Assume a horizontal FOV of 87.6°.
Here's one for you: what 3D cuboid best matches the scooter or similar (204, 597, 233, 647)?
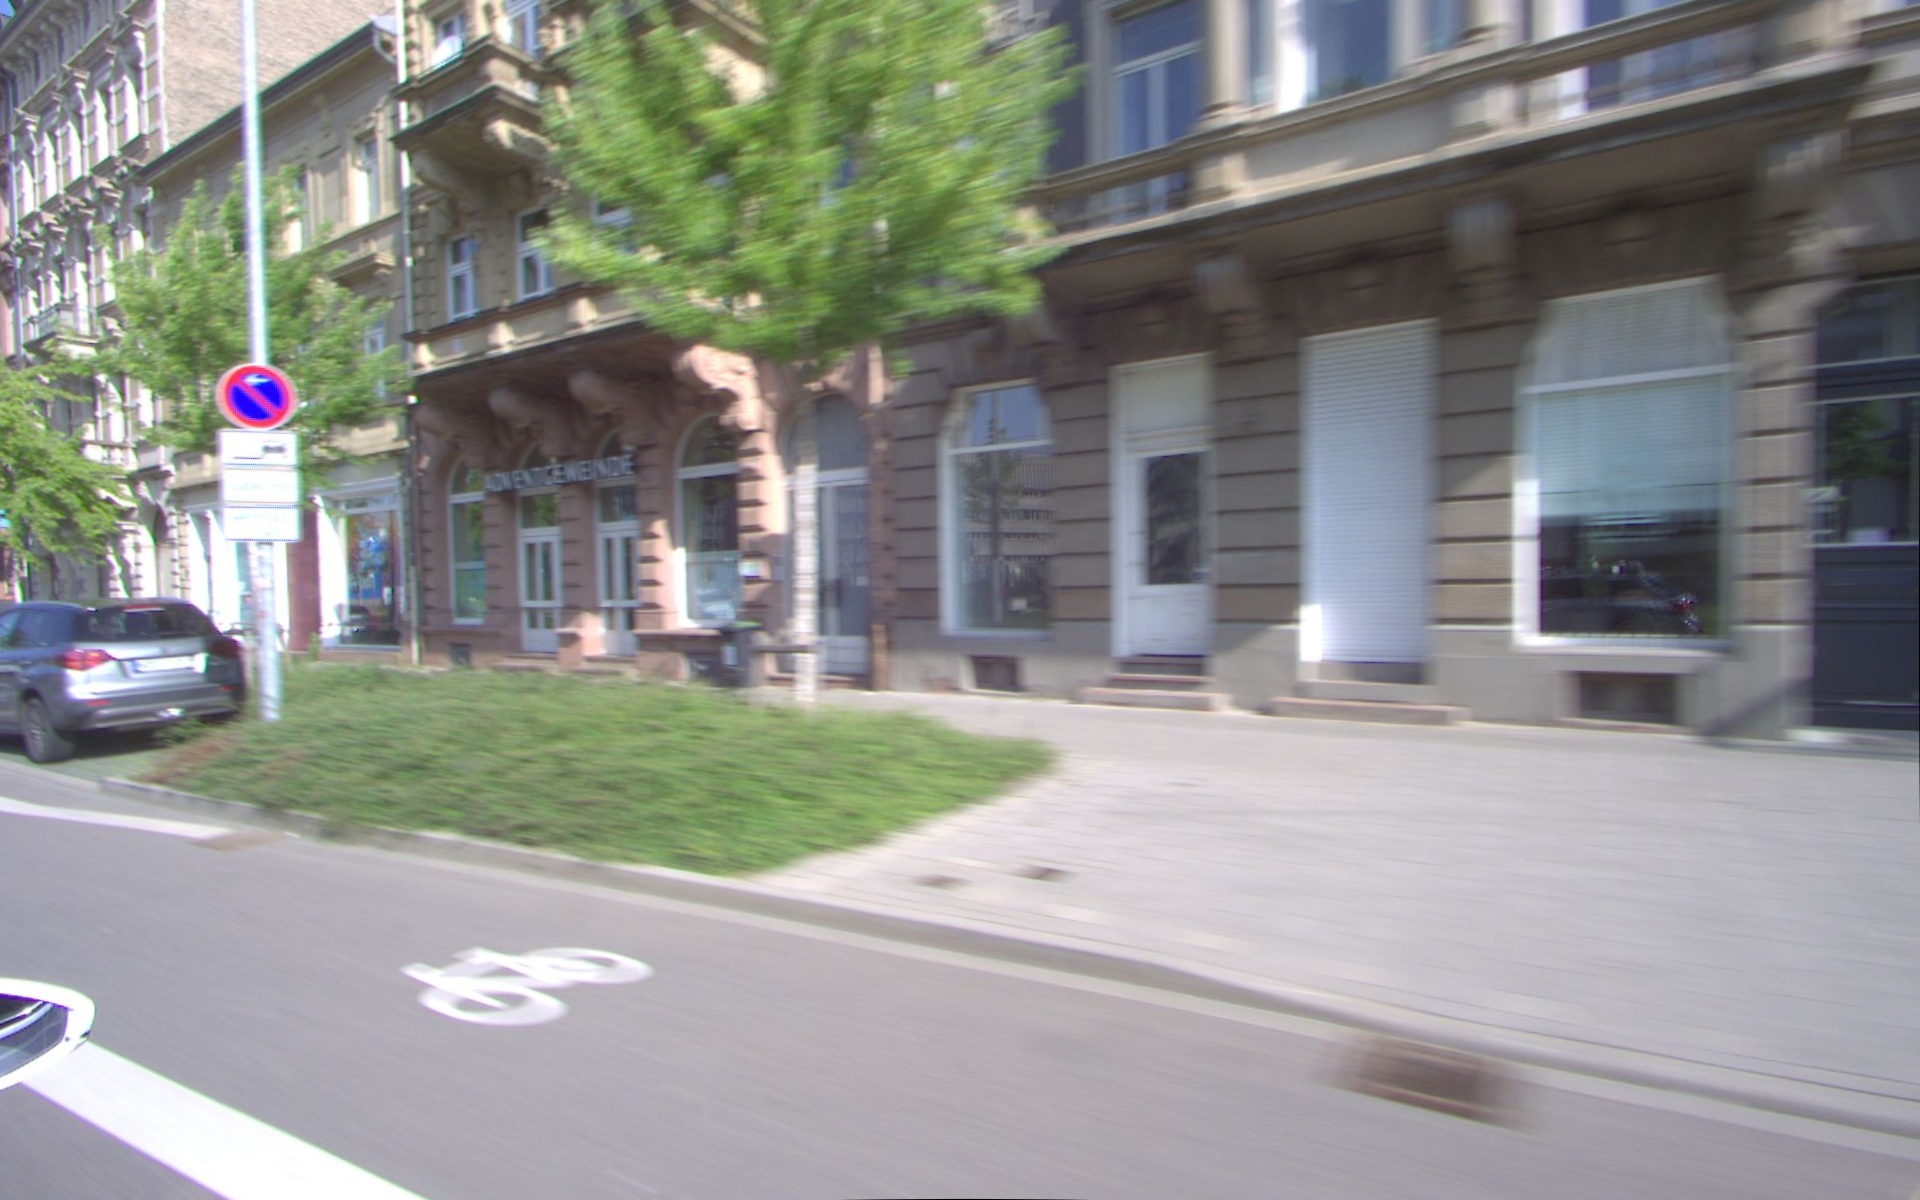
[{"bbox_3d":[-17.594,0.514,23.744,1.075,1.149,0.287,1,2,39],"label":"scooter or similar"}]

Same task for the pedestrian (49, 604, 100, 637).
[{"bbox_3d":[-25.495,0.579,28.832,0.700,0.889,0.875,1,3,30],"label":"pedestrian"}]

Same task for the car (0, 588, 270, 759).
[{"bbox_3d":[-9.954,0.691,11.420,4.183,1.610,1.766,0,2,30],"label":"car"}]

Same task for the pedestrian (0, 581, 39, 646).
[{"bbox_3d":[-26.190,0.355,27.664,0.781,1.720,0.821,1,4,29],"label":"pedestrian"}]

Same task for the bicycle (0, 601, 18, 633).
[{"bbox_3d":[-31.325,0.548,32.871,1.239,1.032,0.395,0,1,39],"label":"bicycle"}]

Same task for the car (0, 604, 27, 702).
[{"bbox_3d":[-16.191,0.784,15.383,4.650,1.415,1.731,1,3,35],"label":"car"}]
